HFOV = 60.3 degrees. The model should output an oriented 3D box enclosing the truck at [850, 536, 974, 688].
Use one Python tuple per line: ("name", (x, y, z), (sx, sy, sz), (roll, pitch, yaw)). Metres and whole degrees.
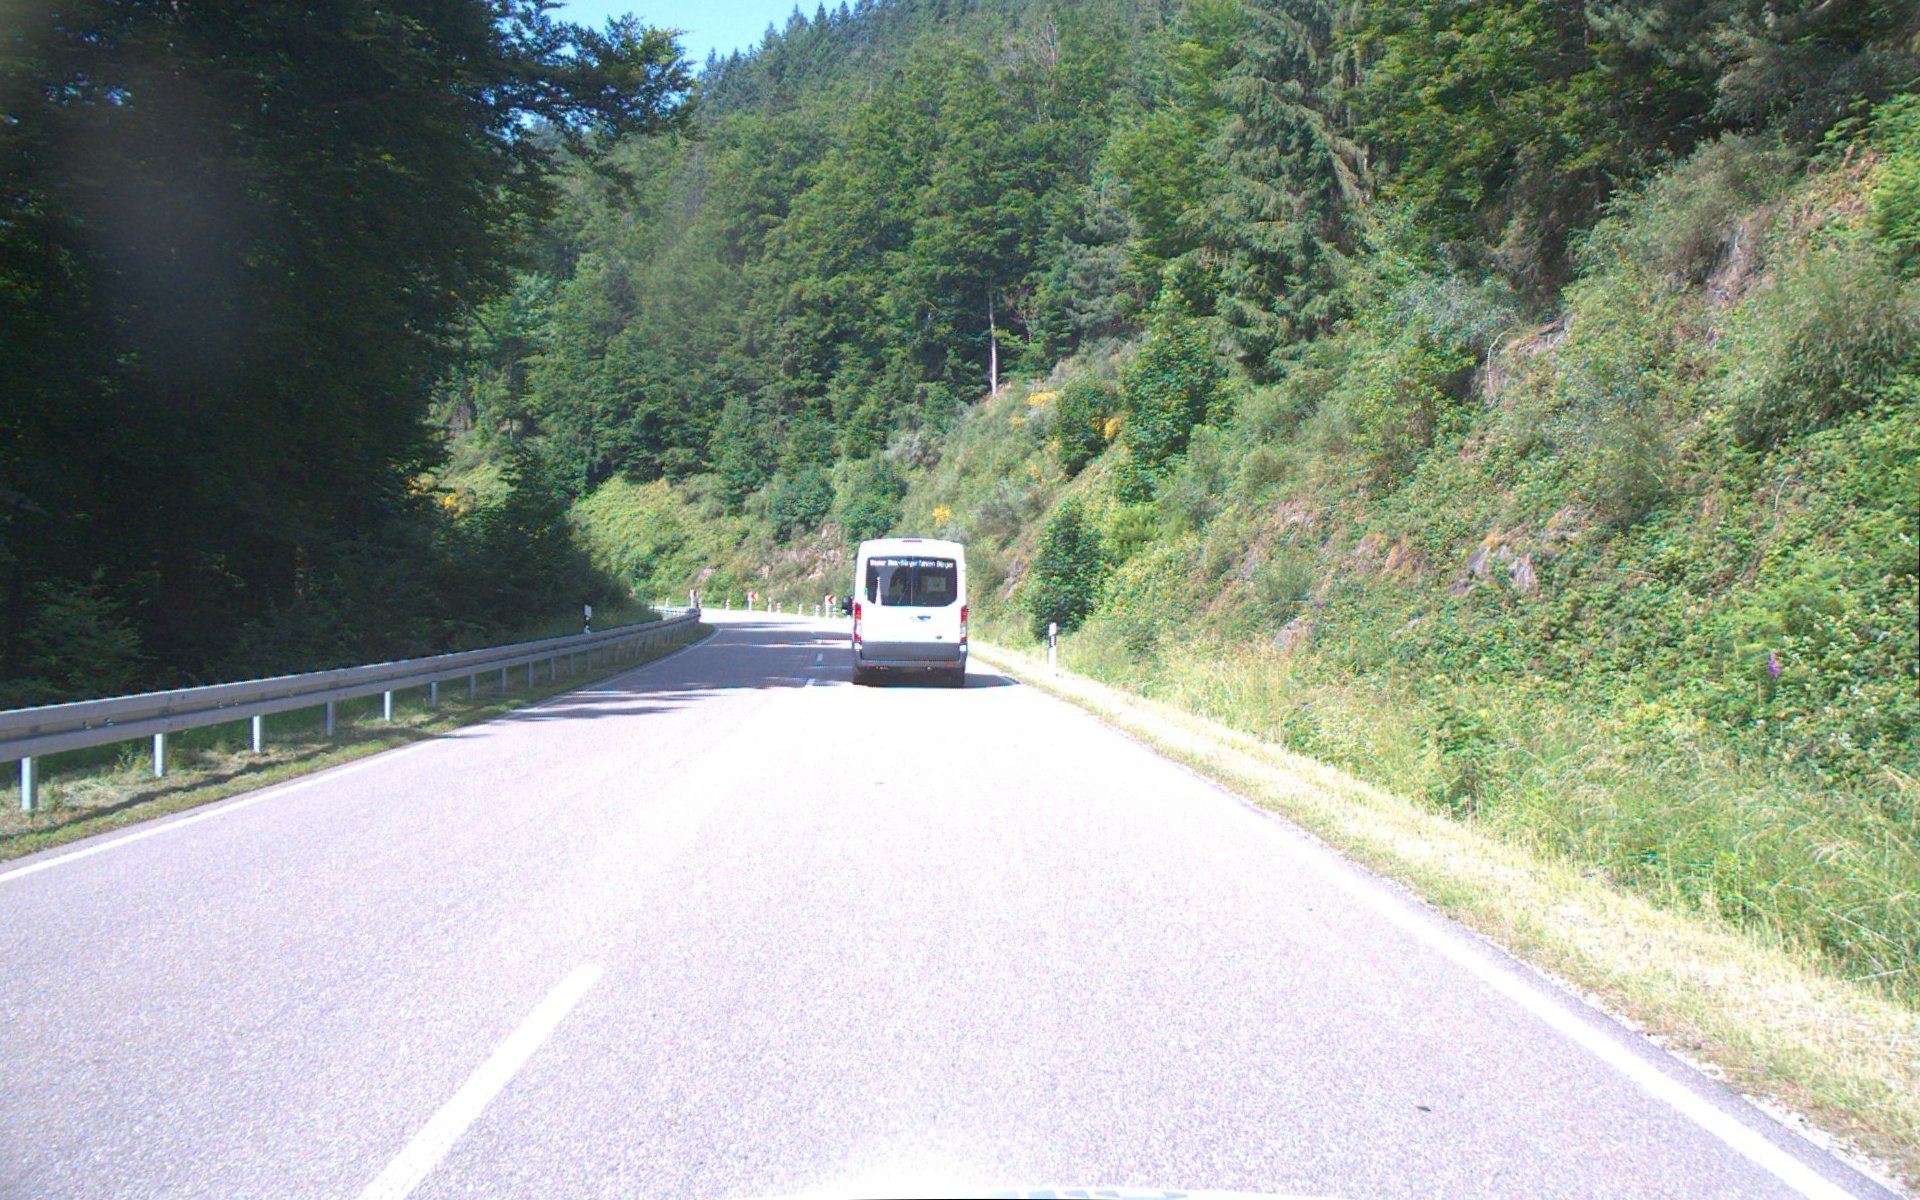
("truck", (-0.955, 0.193, 29.921), (2.042, 2.503, 4.871), (1, 0, -4))
